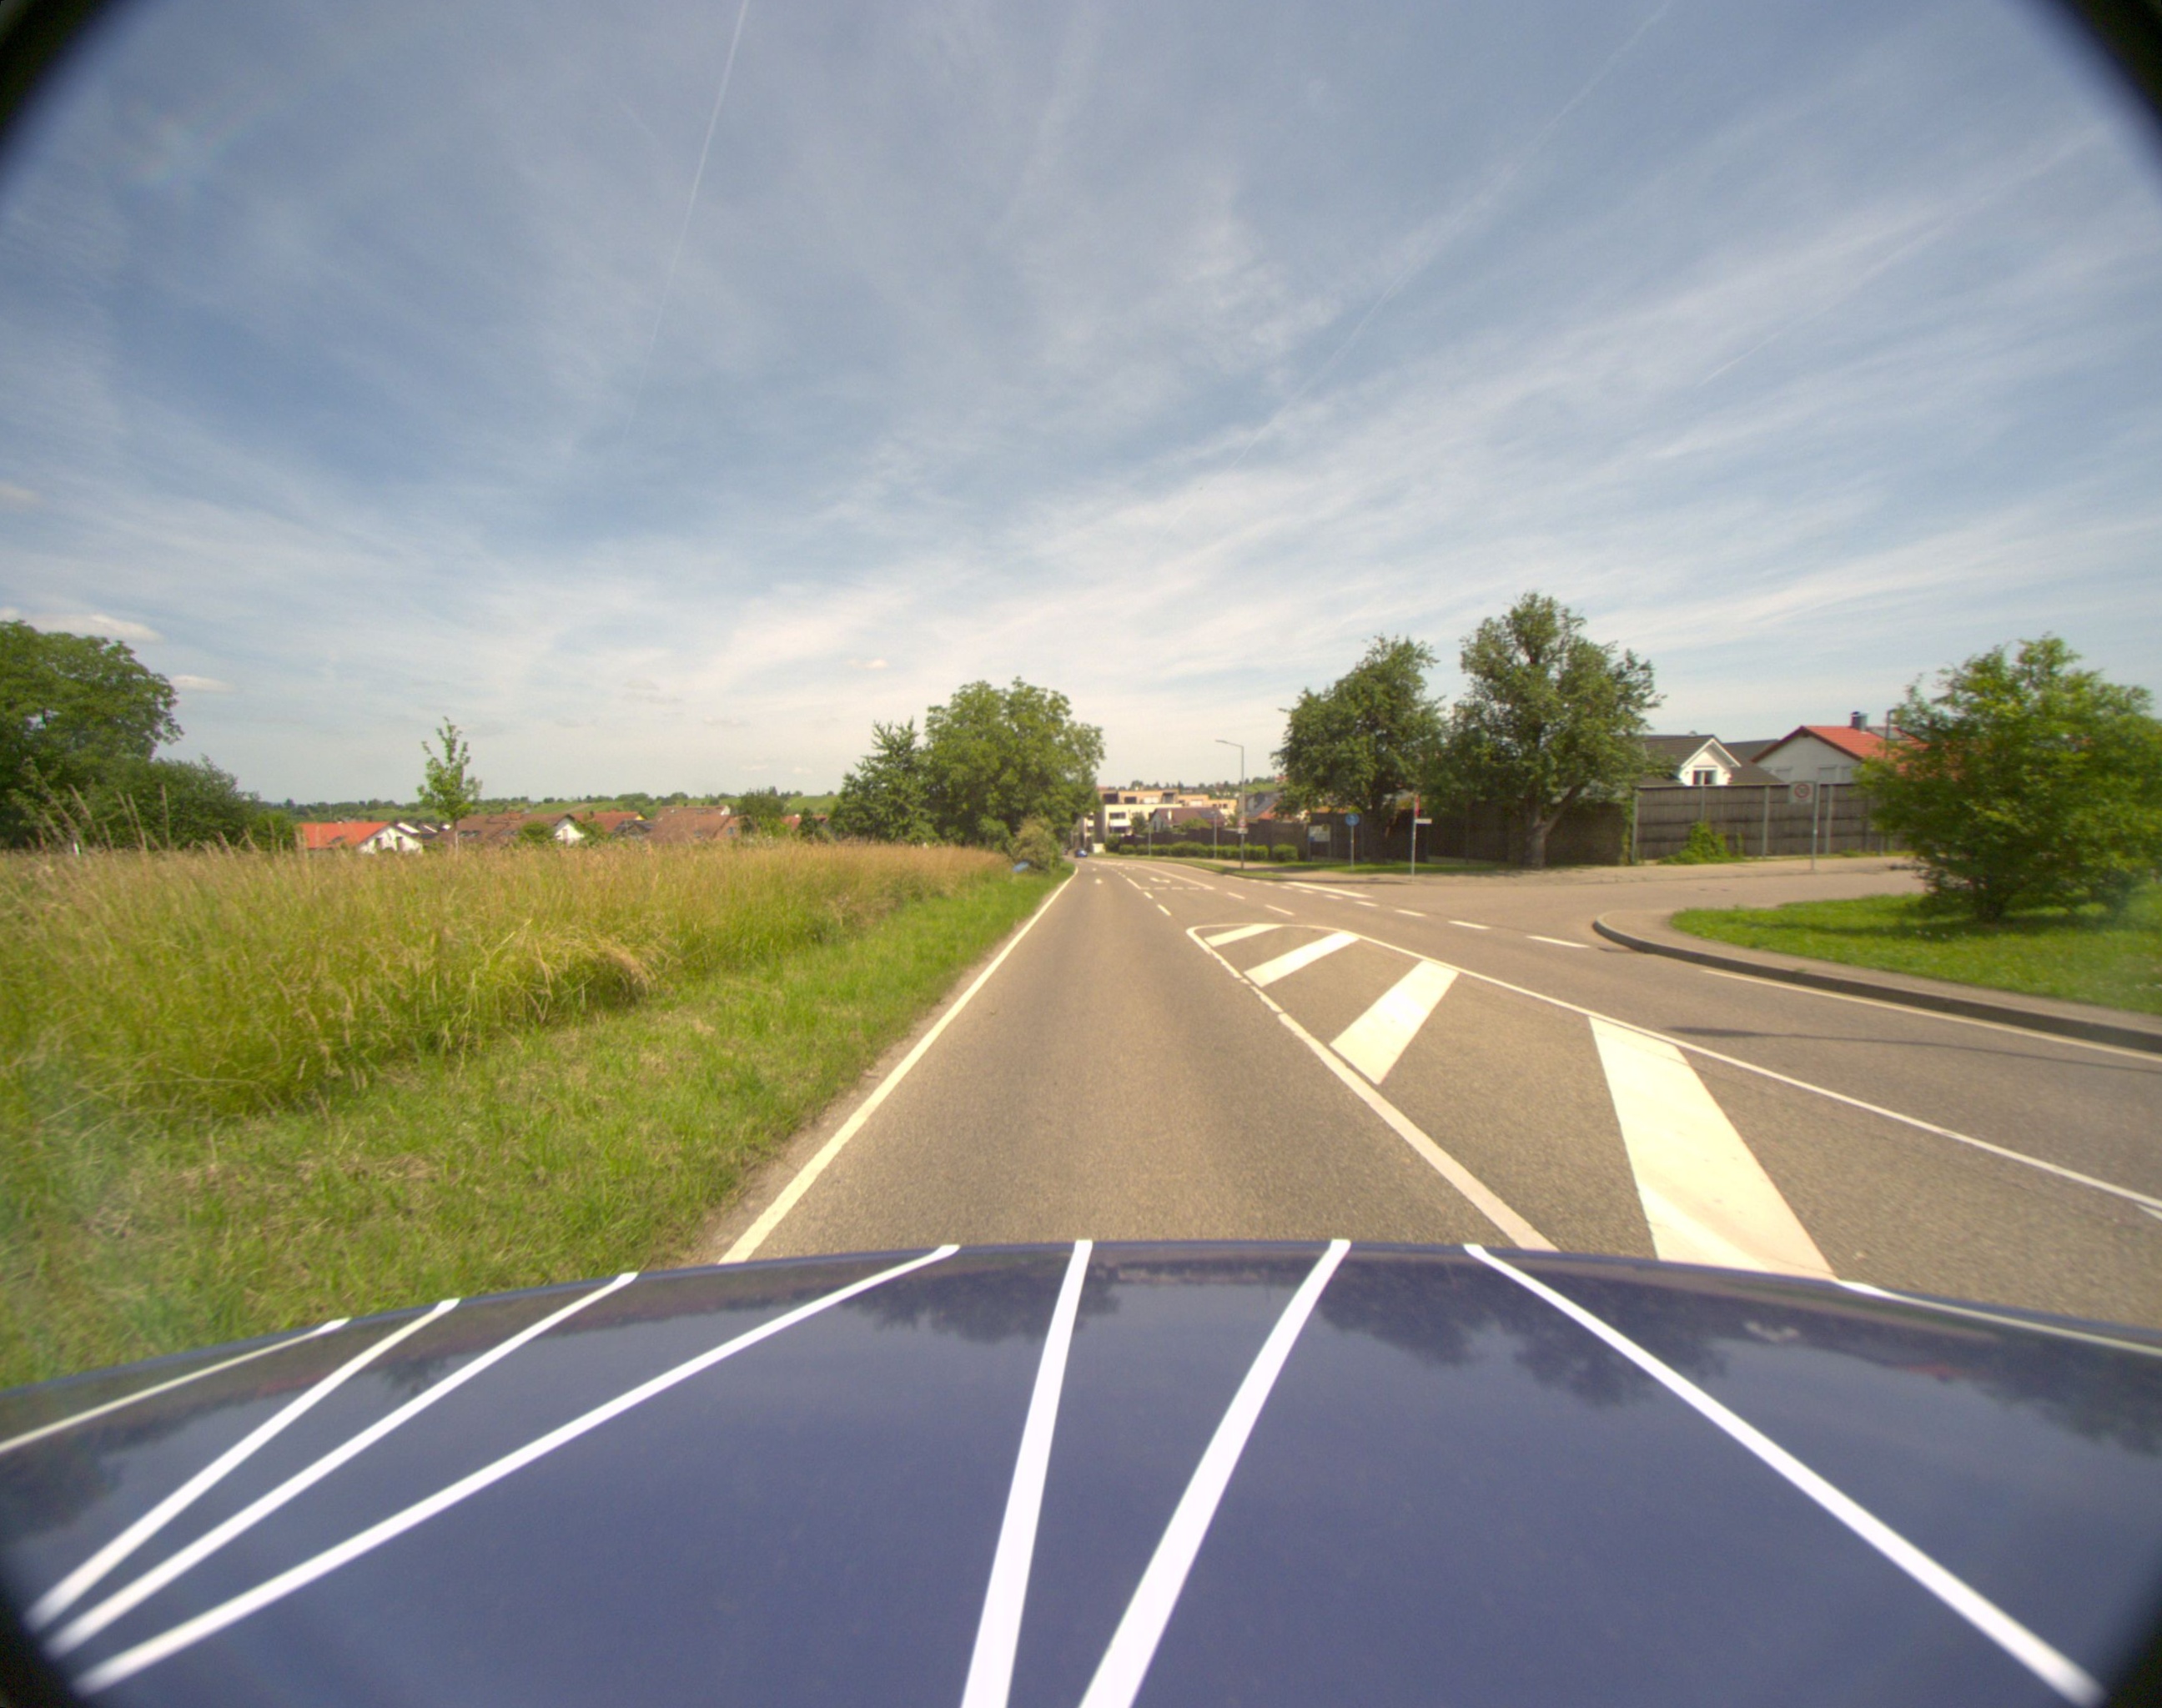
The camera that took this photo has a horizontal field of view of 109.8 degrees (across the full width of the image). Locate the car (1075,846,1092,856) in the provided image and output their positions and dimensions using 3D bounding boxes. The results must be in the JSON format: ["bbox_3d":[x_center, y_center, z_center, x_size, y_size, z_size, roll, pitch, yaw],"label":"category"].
[{"bbox_3d":[0.378,-0.450,122.292,1.614,1.483,3.843,-1,0,-15],"label":"car"}]

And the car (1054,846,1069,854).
[{"bbox_3d":[-3.773,-0.754,145.629,1.831,1.572,3.994,-1,1,-15],"label":"car"}]
